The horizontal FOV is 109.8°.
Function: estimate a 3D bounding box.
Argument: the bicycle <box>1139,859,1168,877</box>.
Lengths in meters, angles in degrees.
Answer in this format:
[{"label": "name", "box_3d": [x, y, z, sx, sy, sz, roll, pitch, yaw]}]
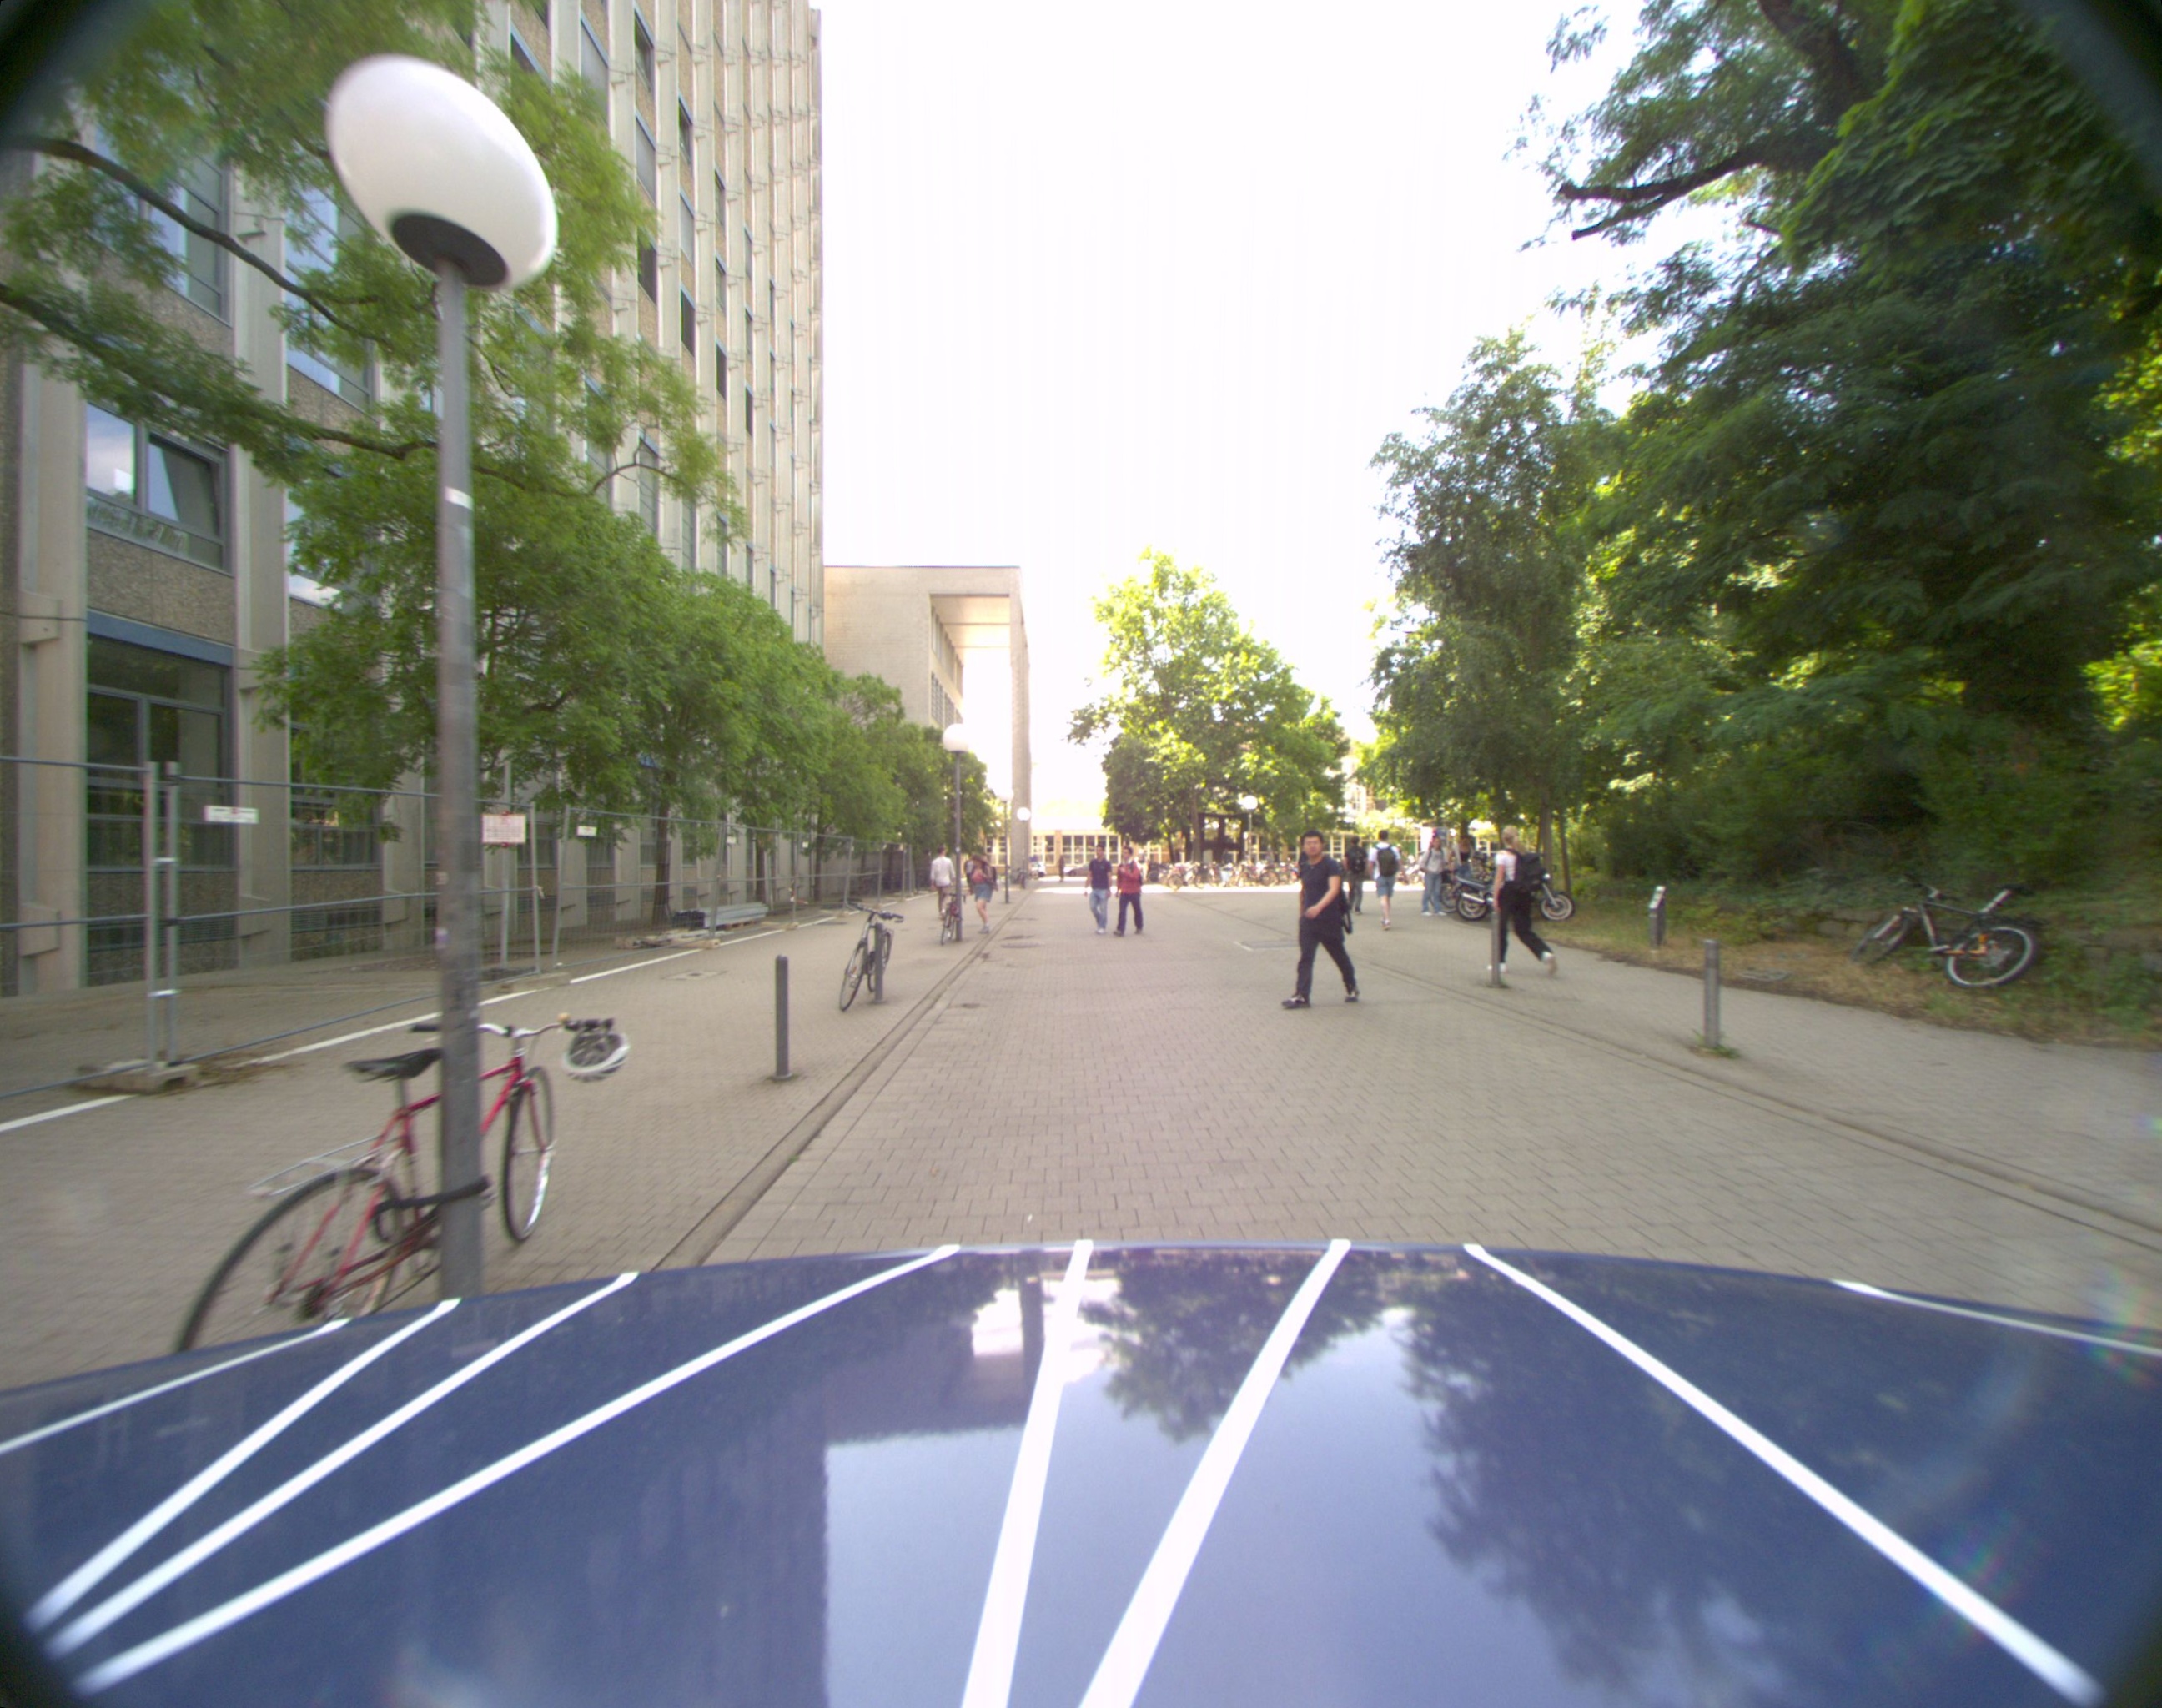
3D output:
[{"label": "bicycle", "box_3d": [4.544, 0.872, 47.619, 1.737, 1.101, 0.575, -2, 1, 18]}]

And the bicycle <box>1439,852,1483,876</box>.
[{"label": "bicycle", "box_3d": [18.047, 0.480, 36.062, 1.773, 1.104, 0.518, -1, 1, 40]}]

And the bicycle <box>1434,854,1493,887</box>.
[{"label": "bicycle", "box_3d": [13.195, 0.587, 26.220, 1.773, 1.104, 0.475, -1, 1, 28]}]

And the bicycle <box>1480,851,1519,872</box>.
[{"label": "bicycle", "box_3d": [22.411, 0.407, 40.716, 1.773, 1.104, 0.518, -1, 1, 40]}]

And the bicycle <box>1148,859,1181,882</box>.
[{"label": "bicycle", "box_3d": [4.492, 0.875, 40.933, 1.700, 1.191, 0.536, -2, 1, -10]}]

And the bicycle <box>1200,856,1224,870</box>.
[{"label": "bicycle", "box_3d": [10.575, 0.702, 61.227, 1.839, 1.101, 0.393, -2, 1, -8]}]

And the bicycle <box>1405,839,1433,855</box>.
[{"label": "bicycle", "box_3d": [27.714, -0.565, 62.326, 1.882, 1.164, 0.807, -5, -2, 45]}]

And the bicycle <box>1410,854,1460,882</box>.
[{"label": "bicycle", "box_3d": [14.566, 0.588, 31.284, 1.773, 1.104, 0.475, -1, 1, 37]}]

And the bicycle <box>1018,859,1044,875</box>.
[{"label": "bicycle", "box_3d": [-3.795, 0.961, 57.418, 1.886, 1.157, 0.605, 1, -1, -6]}]

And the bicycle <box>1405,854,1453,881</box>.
[{"label": "bicycle", "box_3d": [14.771, 0.568, 32.291, 1.773, 1.104, 0.475, -1, 1, 37]}]

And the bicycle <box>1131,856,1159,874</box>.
[{"label": "bicycle", "box_3d": [4.410, 0.771, 52.376, 1.785, 1.155, 0.497, -2, 1, -6]}]

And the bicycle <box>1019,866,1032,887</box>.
[{"label": "bicycle", "box_3d": [-2.796, 1.128, 38.414, 0.538, 1.033, 1.858, 0, 0, -2]}]

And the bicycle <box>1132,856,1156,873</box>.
[{"label": "bicycle", "box_3d": [4.431, 0.766, 53.780, 1.629, 1.144, 0.497, -2, 1, -1]}]

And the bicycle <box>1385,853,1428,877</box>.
[{"label": "bicycle", "box_3d": [15.268, 0.529, 35.670, 1.840, 1.104, 0.475, -1, 1, 26]}]

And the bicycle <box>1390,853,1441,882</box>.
[{"label": "bicycle", "box_3d": [13.341, 0.536, 30.360, 1.773, 1.104, 0.475, -1, 1, 42]}]

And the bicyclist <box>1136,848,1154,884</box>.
[{"label": "bicyclist", "box_3d": [2.901, 0.540, 34.471, 0.596, 1.559, 0.721, -2, 1, -10]}]

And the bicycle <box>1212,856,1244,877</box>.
[{"label": "bicycle", "box_3d": [8.658, 0.721, 44.809, 1.695, 1.193, 0.577, -1, 1, 35]}]

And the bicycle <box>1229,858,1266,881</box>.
[{"label": "bicycle", "box_3d": [8.260, 0.769, 37.714, 1.695, 1.077, 0.475, -1, 1, 30]}]

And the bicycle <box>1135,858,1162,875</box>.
[{"label": "bicycle", "box_3d": [4.526, 0.850, 50.923, 1.724, 1.101, 0.719, -2, 1, 9]}]

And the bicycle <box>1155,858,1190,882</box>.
[{"label": "bicycle", "box_3d": [4.766, 0.852, 39.556, 1.700, 1.181, 0.473, -2, 1, -12]}]

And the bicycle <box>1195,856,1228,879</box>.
[{"label": "bicycle", "box_3d": [7.282, 0.760, 42.355, 1.700, 1.213, 0.502, -2, 1, -12]}]

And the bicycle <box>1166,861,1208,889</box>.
[{"label": "bicycle", "box_3d": [4.531, 0.891, 32.444, 1.700, 1.152, 0.474, -2, 1, -10]}]

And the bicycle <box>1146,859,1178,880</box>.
[{"label": "bicycle", "box_3d": [4.534, 0.867, 42.364, 1.700, 1.139, 0.473, -2, 1, -13]}]

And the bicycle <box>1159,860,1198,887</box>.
[{"label": "bicycle", "box_3d": [4.505, 0.888, 35.237, 1.700, 1.161, 0.473, -2, 1, -14]}]

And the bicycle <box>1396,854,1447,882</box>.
[{"label": "bicycle", "box_3d": [13.760, 0.569, 30.732, 1.773, 1.104, 0.475, -1, 1, 37]}]

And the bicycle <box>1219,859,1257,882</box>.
[{"label": "bicycle", "box_3d": [7.543, 0.784, 36.512, 1.695, 1.077, 0.475, -1, 1, 34]}]

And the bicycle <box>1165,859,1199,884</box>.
[{"label": "bicycle", "box_3d": [5.026, 0.856, 37.890, 1.702, 1.151, 0.473, -2, 1, -28]}]

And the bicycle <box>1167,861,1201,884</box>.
[{"label": "bicycle", "box_3d": [4.981, 0.892, 36.685, 1.702, 1.055, 0.473, -2, 1, -36]}]

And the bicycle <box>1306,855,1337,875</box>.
[{"label": "bicycle", "box_3d": [13.807, 0.627, 43.652, 0.475, 1.077, 1.695, -2, 1, -39]}]

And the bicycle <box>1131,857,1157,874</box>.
[{"label": "bicycle", "box_3d": [4.296, 0.795, 51.877, 1.629, 1.101, 0.497, -2, 1, -6]}]

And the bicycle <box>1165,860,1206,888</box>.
[{"label": "bicycle", "box_3d": [4.620, 0.867, 33.677, 1.699, 1.161, 0.474, -2, 1, -7]}]

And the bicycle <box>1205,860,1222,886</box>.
[{"label": "bicycle", "box_3d": [5.858, 0.822, 33.621, 0.508, 1.077, 1.700, -2, 0, 2]}]

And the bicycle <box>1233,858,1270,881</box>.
[{"label": "bicycle", "box_3d": [8.326, 0.757, 37.103, 1.695, 1.077, 0.475, -1, 1, 30]}]

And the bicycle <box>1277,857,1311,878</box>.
[{"label": "bicycle", "box_3d": [11.426, 0.733, 40.832, 1.695, 1.077, 0.475, -1, 1, 43]}]

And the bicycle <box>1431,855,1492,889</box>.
[{"label": "bicycle", "box_3d": [12.657, 0.610, 25.287, 1.773, 1.104, 0.475, -1, 1, 28]}]

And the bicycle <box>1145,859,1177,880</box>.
[{"label": "bicycle", "box_3d": [4.540, 0.876, 42.890, 1.700, 1.101, 0.496, -2, 1, -12]}]

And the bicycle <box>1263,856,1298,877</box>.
[{"label": "bicycle", "box_3d": [10.562, 0.661, 40.173, 1.695, 1.077, 0.475, -1, 1, 34]}]

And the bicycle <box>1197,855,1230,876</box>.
[{"label": "bicycle", "box_3d": [7.198, 0.607, 41.292, 1.700, 1.101, 0.502, -2, 1, -12]}]

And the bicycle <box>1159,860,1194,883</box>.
[{"label": "bicycle", "box_3d": [5.045, 0.922, 40.116, 1.700, 1.101, 0.565, -2, 1, -12]}]

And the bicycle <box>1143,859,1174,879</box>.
[{"label": "bicycle", "box_3d": [4.702, 0.896, 46.130, 1.740, 1.120, 0.497, -2, 1, -6]}]

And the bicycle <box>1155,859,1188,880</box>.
[{"label": "bicycle", "box_3d": [4.926, 0.844, 41.542, 1.700, 1.101, 0.473, -2, 1, -12]}]

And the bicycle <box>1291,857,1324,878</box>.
[{"label": "bicycle", "box_3d": [12.397, 0.738, 41.610, 1.695, 1.077, 0.475, -1, 1, 43]}]

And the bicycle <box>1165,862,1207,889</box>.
[{"label": "bicycle", "box_3d": [4.546, 0.928, 32.914, 1.699, 1.085, 0.474, -2, 1, -7]}]

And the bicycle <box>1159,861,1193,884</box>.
[{"label": "bicycle", "box_3d": [4.804, 0.907, 38.298, 1.702, 1.101, 0.473, -2, 1, -28]}]

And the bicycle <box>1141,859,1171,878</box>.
[{"label": "bicycle", "box_3d": [4.599, 0.877, 46.747, 1.739, 1.101, 0.497, -2, 1, -1]}]

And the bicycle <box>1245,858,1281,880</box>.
[{"label": "bicycle", "box_3d": [9.057, 0.754, 37.865, 1.695, 1.077, 0.475, -1, 1, 34]}]

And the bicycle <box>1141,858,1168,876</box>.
[{"label": "bicycle", "box_3d": [4.669, 0.831, 48.275, 1.627, 1.137, 0.497, -2, 1, 12]}]

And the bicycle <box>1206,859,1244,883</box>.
[{"label": "bicycle", "box_3d": [6.796, 0.793, 35.831, 1.697, 1.077, 0.474, -2, 1, 12]}]

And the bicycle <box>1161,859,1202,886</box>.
[{"label": "bicycle", "box_3d": [4.577, 0.854, 34.528, 1.778, 1.161, 0.474, -2, 1, 12]}]

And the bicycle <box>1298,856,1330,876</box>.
[{"label": "bicycle", "box_3d": [13.084, 0.664, 42.668, 0.475, 1.077, 1.695, -2, 1, -39]}]

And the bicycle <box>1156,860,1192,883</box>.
[{"label": "bicycle", "box_3d": [4.787, 0.885, 39.029, 1.700, 1.101, 0.582, -2, 1, -12]}]

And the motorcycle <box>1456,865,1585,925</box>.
[{"label": "motorcycle", "box_3d": [8.242, 0.772, 14.323, 2.020, 1.041, 0.475, -3, 0, 41]}]

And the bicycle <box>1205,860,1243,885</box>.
[{"label": "bicycle", "box_3d": [6.532, 0.856, 34.753, 1.697, 1.077, 0.474, -2, 1, 11]}]

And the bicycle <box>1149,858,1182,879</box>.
[{"label": "bicycle", "box_3d": [4.645, 0.816, 41.908, 1.700, 1.101, 0.473, -2, 1, -13]}]

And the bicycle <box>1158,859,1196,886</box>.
[{"label": "bicycle", "box_3d": [4.520, 0.859, 35.779, 1.701, 1.161, 0.473, -2, 1, -18]}]

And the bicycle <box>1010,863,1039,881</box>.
[{"label": "bicycle", "box_3d": [-3.365, 1.082, 45.131, 1.744, 1.033, 0.449, 0, -1, -6]}]

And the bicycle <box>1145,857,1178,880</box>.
[{"label": "bicycle", "box_3d": [4.594, 0.804, 43.369, 1.740, 1.228, 0.496, -2, 1, -9]}]

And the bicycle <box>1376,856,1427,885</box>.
[{"label": "bicycle", "box_3d": [12.495, 0.640, 29.643, 1.773, 1.104, 0.475, -1, 1, 42]}]

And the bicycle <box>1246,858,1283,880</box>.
[{"label": "bicycle", "box_3d": [9.250, 0.741, 38.312, 1.695, 1.077, 0.475, -1, 1, 34]}]

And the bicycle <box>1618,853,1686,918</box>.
[{"label": "bicycle", "box_3d": [10.186, 0.528, 13.616, 0.473, 1.041, 1.702, -3, 1, 20]}]
